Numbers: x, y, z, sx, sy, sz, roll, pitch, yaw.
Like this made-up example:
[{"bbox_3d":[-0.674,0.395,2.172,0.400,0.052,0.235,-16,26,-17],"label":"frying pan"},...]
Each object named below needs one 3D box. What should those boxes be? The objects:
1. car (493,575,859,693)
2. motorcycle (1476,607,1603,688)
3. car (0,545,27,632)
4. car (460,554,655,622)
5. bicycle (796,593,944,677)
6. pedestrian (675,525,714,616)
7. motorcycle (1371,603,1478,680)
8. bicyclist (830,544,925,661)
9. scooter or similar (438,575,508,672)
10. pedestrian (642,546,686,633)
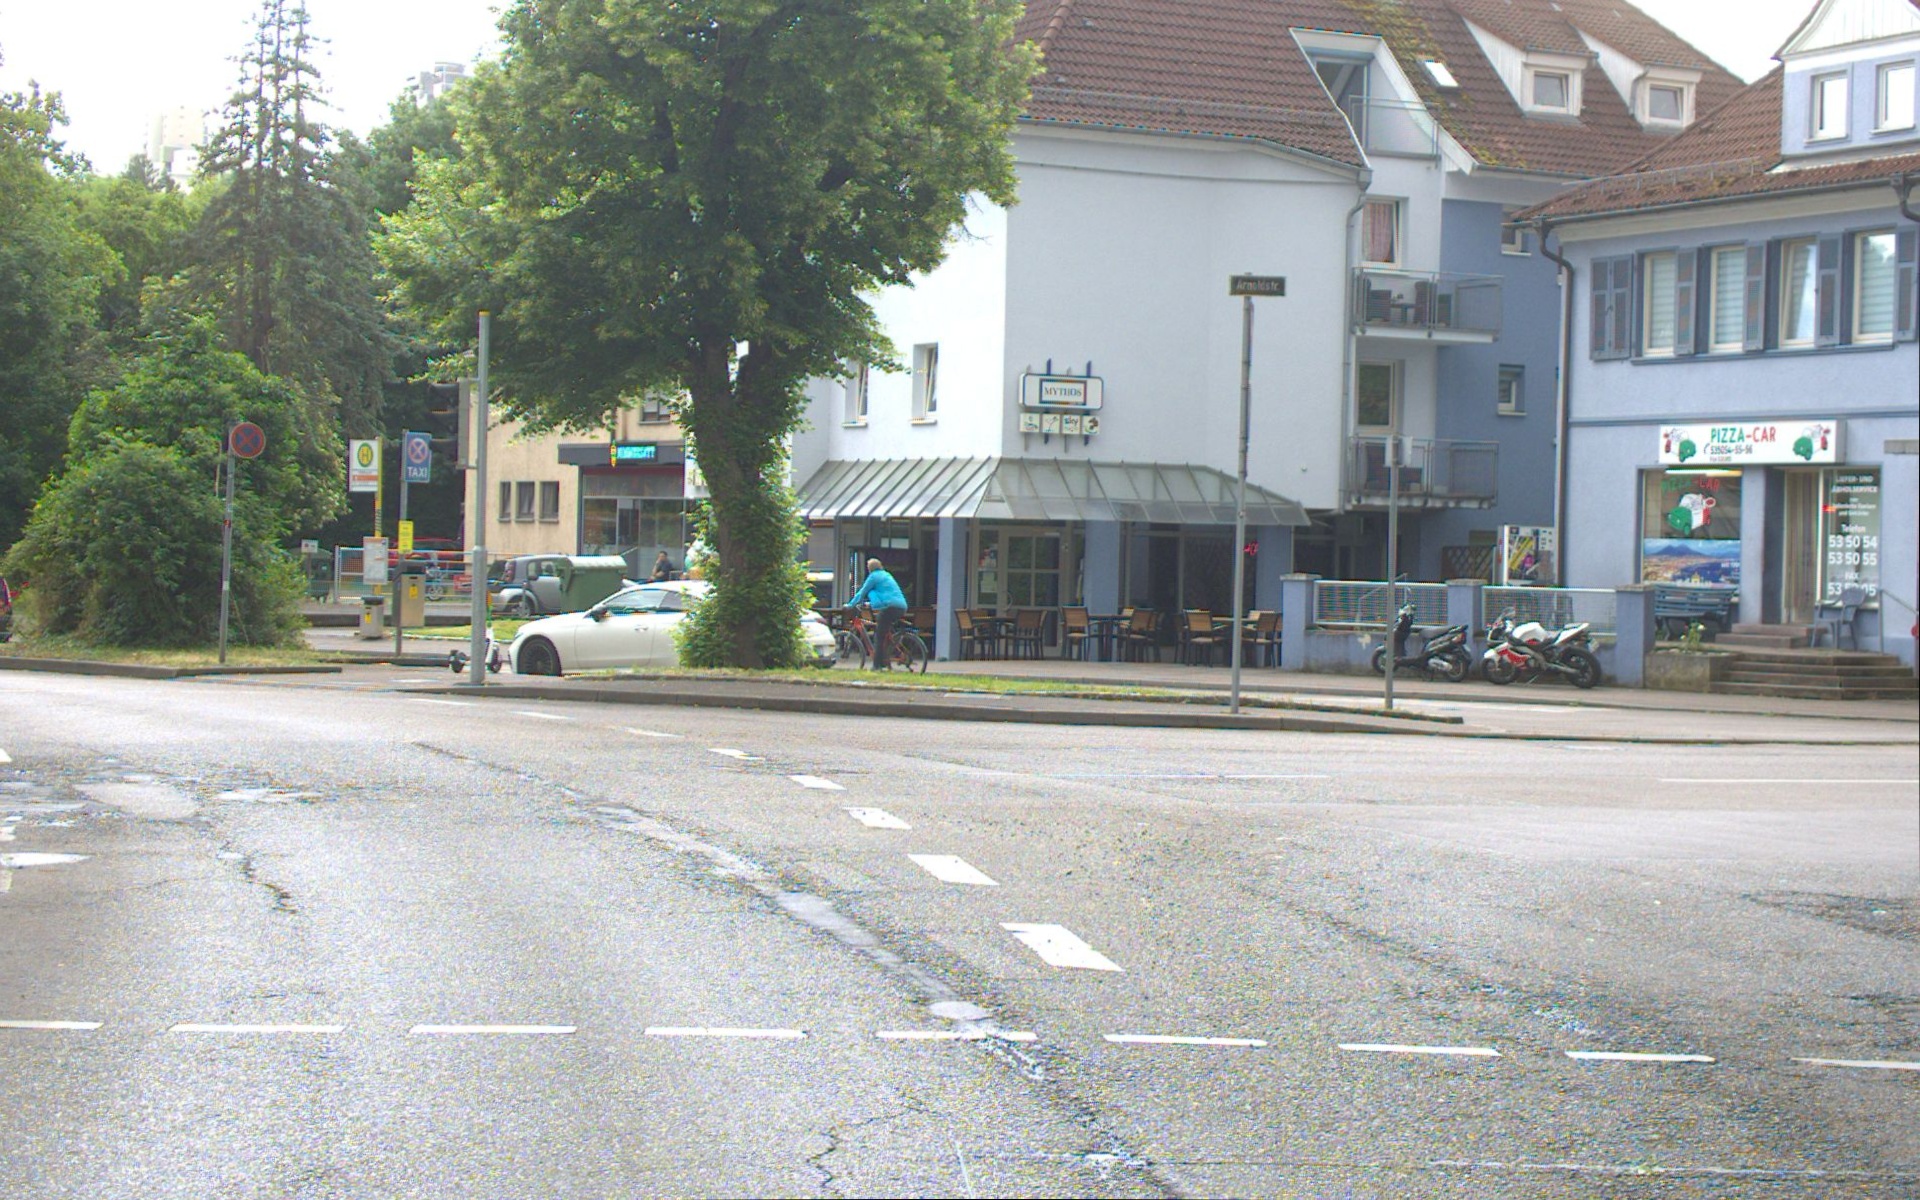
[{"bbox_3d":[-3.805,0.423,45.758,4.709,1.405,1.898,2,1,35],"label":"car"},{"bbox_3d":[8.149,0.665,48.362,1.628,1.085,0.626,1,1,32],"label":"motorcycle"},{"bbox_3d":[-16.421,-0.214,53.517,3.322,1.347,1.778,1,1,27],"label":"car"},{"bbox_3d":[-8.859,-0.267,75.627,3.936,1.437,1.753,1,1,-20],"label":"car"},{"bbox_3d":[-1.298,0.491,49.320,1.950,1.145,0.875,1,1,33],"label":"bicycle"},{"bbox_3d":[-4.562,-0.500,59.173,0.543,1.554,0.467,0,0,13],"label":"pedestrian"},{"bbox_3d":[6.773,0.593,50.132,1.458,1.085,0.523,1,1,35],"label":"motorcycle"},{"bbox_3d":[-1.176,0.031,49.253,0.987,1.646,0.916,1,1,34],"label":"bicyclist"},{"bbox_3d":[-6.030,0.285,42.614,0.442,1.171,1.437,1,1,9],"label":"scooter or similar"},{"bbox_3d":[-6.953,-0.253,80.695,0.837,2.007,1.056,1,1,-14],"label":"pedestrian"}]
